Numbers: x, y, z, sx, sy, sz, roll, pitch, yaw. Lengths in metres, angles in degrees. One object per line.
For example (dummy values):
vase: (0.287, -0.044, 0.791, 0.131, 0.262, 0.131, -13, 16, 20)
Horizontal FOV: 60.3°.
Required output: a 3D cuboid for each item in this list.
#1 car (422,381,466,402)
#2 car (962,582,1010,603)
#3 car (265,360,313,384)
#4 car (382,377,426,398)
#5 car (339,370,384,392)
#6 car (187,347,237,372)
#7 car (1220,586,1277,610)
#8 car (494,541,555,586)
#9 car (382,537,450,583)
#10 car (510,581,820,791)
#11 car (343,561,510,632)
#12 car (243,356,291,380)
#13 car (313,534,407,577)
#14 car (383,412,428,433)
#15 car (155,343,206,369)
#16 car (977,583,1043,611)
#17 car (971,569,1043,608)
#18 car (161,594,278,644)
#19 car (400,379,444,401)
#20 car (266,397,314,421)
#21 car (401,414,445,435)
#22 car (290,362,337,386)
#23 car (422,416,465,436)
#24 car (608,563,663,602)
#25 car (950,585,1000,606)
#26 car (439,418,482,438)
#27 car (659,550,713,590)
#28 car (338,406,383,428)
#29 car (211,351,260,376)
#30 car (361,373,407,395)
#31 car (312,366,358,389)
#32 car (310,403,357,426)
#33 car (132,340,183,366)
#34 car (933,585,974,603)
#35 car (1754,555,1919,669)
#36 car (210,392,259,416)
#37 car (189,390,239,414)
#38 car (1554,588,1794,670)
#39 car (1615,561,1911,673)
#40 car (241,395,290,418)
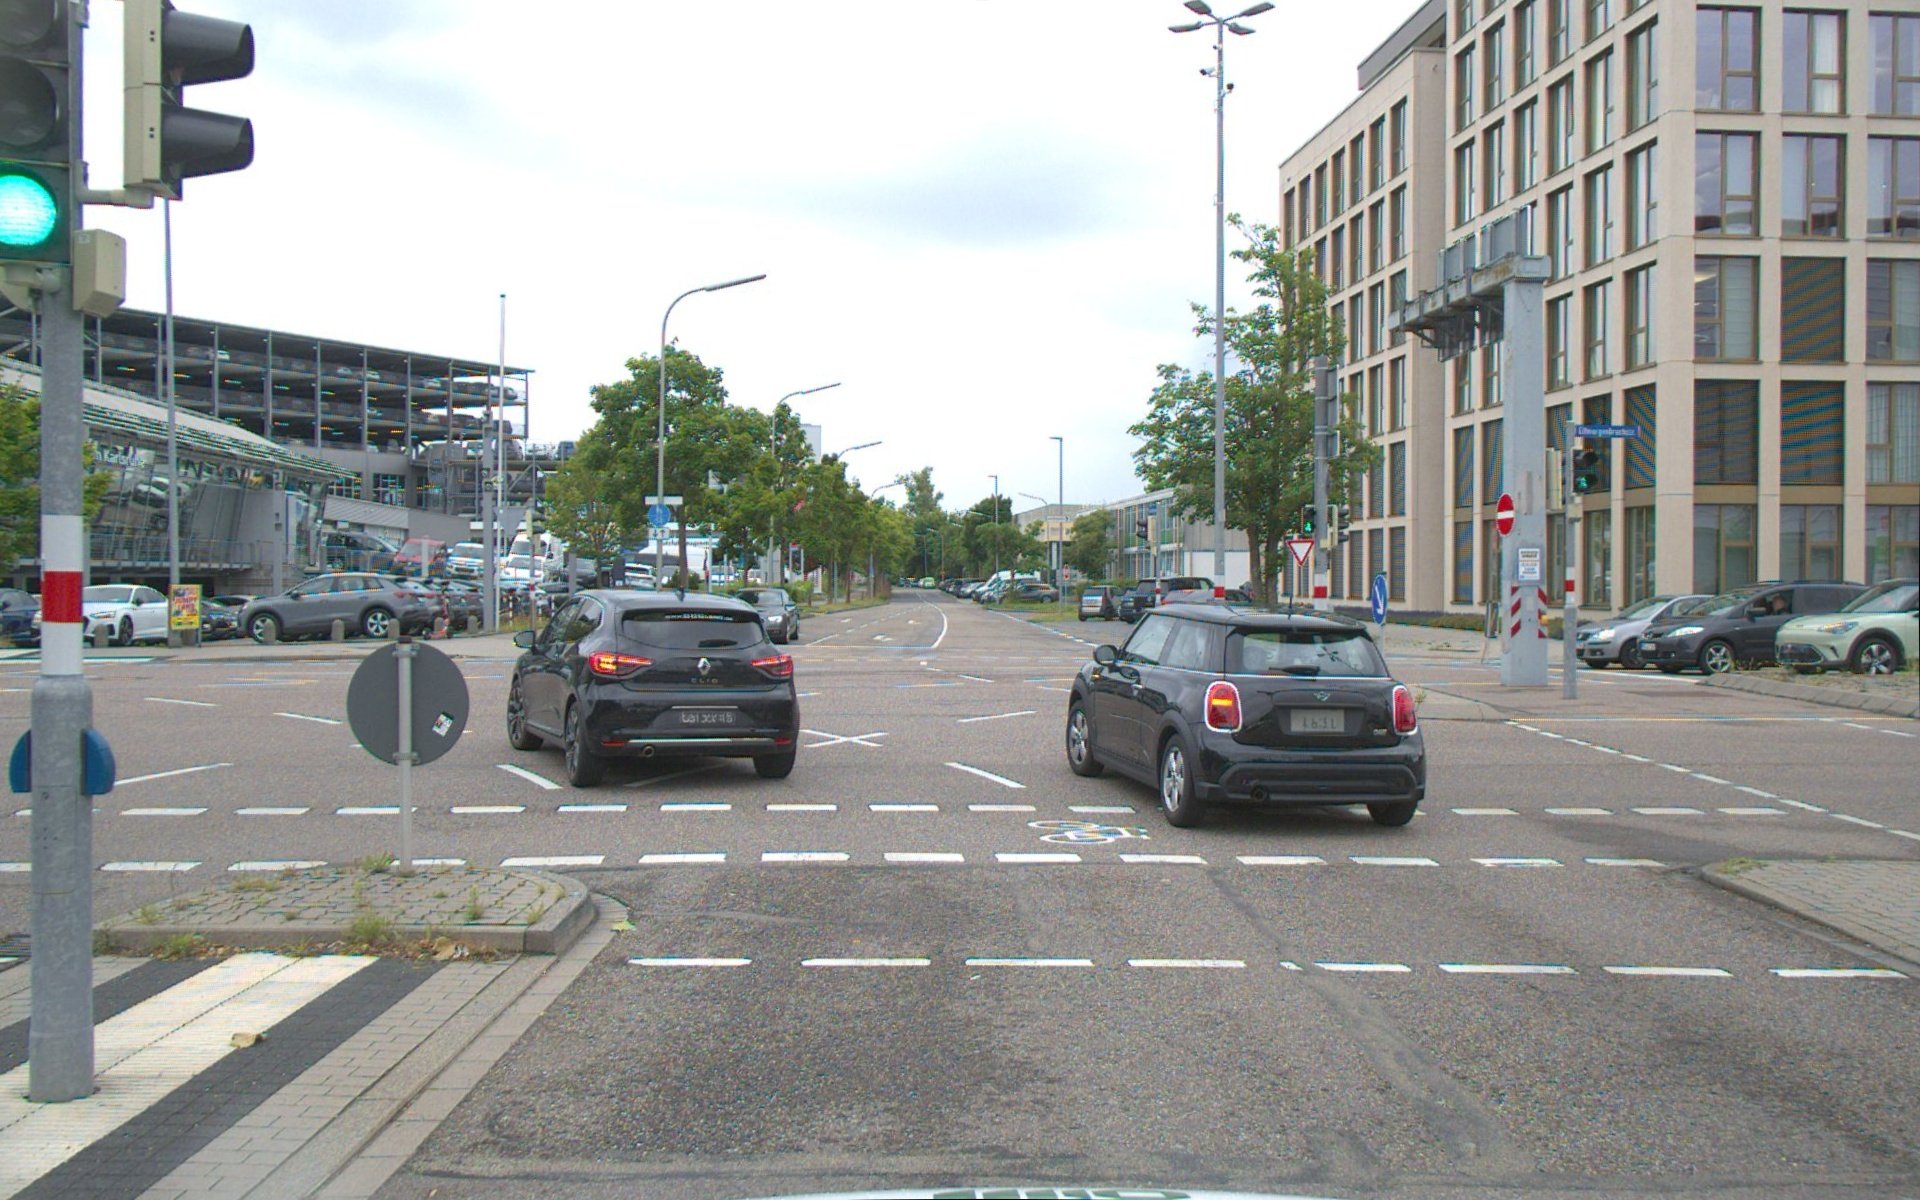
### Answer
car: (-51.183, -20.652, 164.068, 3.913, 1.696, 1.996, 1, 0, 31)
car: (2.607, -0.778, 166.642, 4.691, 1.924, 2.142, 2, -1, -4)
car: (-60.023, -20.397, 147.916, 3.913, 1.696, 1.996, 1, 0, 31)
car: (-53.725, -20.515, 159.810, 3.913, 1.696, 1.996, 1, 0, 31)
car: (-56.016, -20.497, 154.819, 3.913, 1.696, 1.996, 1, 0, 31)
car: (-63.919, -20.544, 141.284, 3.913, 1.696, 1.996, 1, 0, 31)
car: (17.867, -0.132, 102.537, 3.182, 1.356, 1.477, 2, -1, -20)
car: (-19.413, -1.598, 73.875, 1.955, 1.855, 3.996, 2, -1, -5)
car: (-24.233, -1.774, 73.852, 1.955, 1.881, 3.996, 2, -1, -5)
car: (-2.583, 0.619, 13.691, 1.732, 1.460, 3.973, 2, -1, -22)
car: (-16.757, -0.102, 52.155, 4.683, 2.049, 1.996, -2, 0, -8)
car: (-61.113, -20.446, 145.873, 3.913, 1.696, 1.996, 1, 0, 31)
car: (-29.111, -2.147, 80.295, 3.908, 1.870, 1.758, 2, -1, -4)
car: (-53.474, -17.115, 159.475, 3.913, 1.696, 1.996, 1, 0, 31)
car: (-65.442, -20.505, 138.845, 3.913, 1.696, 1.996, 1, 0, 31)
car: (3.712, -0.247, 123.316, 4.691, 1.924, 2.142, 2, -1, -4)
car: (4.069, -0.988, 142.683, 5.994, 3.171, 2.133, 2, -1, -3)
car: (-30.100, 0.771, 67.313, 3.911, 1.870, 1.757, 2, -1, -7)
car: (-52.635, -20.549, 161.819, 3.913, 1.696, 1.996, 1, 0, 31)
car: (-59.931, -17.069, 147.914, 3.913, 1.696, 1.996, 1, 0, 31)
car: (-52.402, -17.151, 161.468, 3.913, 1.696, 1.996, 1, 0, 31)
car: (-58.708, -20.528, 150.256, 3.913, 1.696, 1.996, 1, 0, 31)
car: (-51.208, -17.235, 164.026, 3.913, 1.696, 1.996, 1, 0, 31)
car: (-14.567, -0.770, 74.349, 1.955, 1.646, 3.996, 2, -1, -5)
car: (1.580, -0.447, 173.200, 5.070, 2.049, 2.142, 2, -1, -3)
car: (-50.167, -17.270, 166.013, 3.913, 1.696, 1.996, 1, 0, 31)
car: (-12.415, -1.338, 75.087, 1.954, 1.646, 3.997, 2, -1, -3)
car: (-56.056, -17.119, 154.642, 3.913, 1.696, 1.996, 1, 0, 31)
car: (-62.706, -20.493, 143.186, 3.913, 1.696, 1.996, 1, 0, 31)
car: (-54.728, -20.523, 157.157, 3.913, 1.696, 1.996, 1, 0, 31)
car: (-57.488, -20.468, 152.114, 3.913, 1.696, 1.996, 1, 0, 31)
car: (-57.587, -17.050, 152.029, 3.913, 1.696, 1.996, 1, 0, 31)
car: (-66.352, -20.395, 136.770, 3.913, 1.696, 1.996, 1, 0, 31)
car: (-0.818, -0.789, 206.265, 5.070, 2.049, 2.142, 2, -1, -3)
car: (14.947, 0.223, 26.082, 3.978, 1.672, 1.902, 2, -1, -7)
car: (-62.952, -17.009, 143.473, 3.913, 1.696, 1.996, 1, 0, 31)
car: (-63.786, -16.913, 141.367, 3.913, 1.696, 1.996, 1, 0, 31)
car: (14.035, 0.571, 32.614, 4.005, 1.457, 1.749, 2, -1, -6)
car: (14.175, 0.300, 29.335, 4.322, 1.800, 1.998, 2, -1, -6)
car: (-61.200, -17.058, 145.753, 3.913, 1.696, 1.996, 1, 0, 31)
